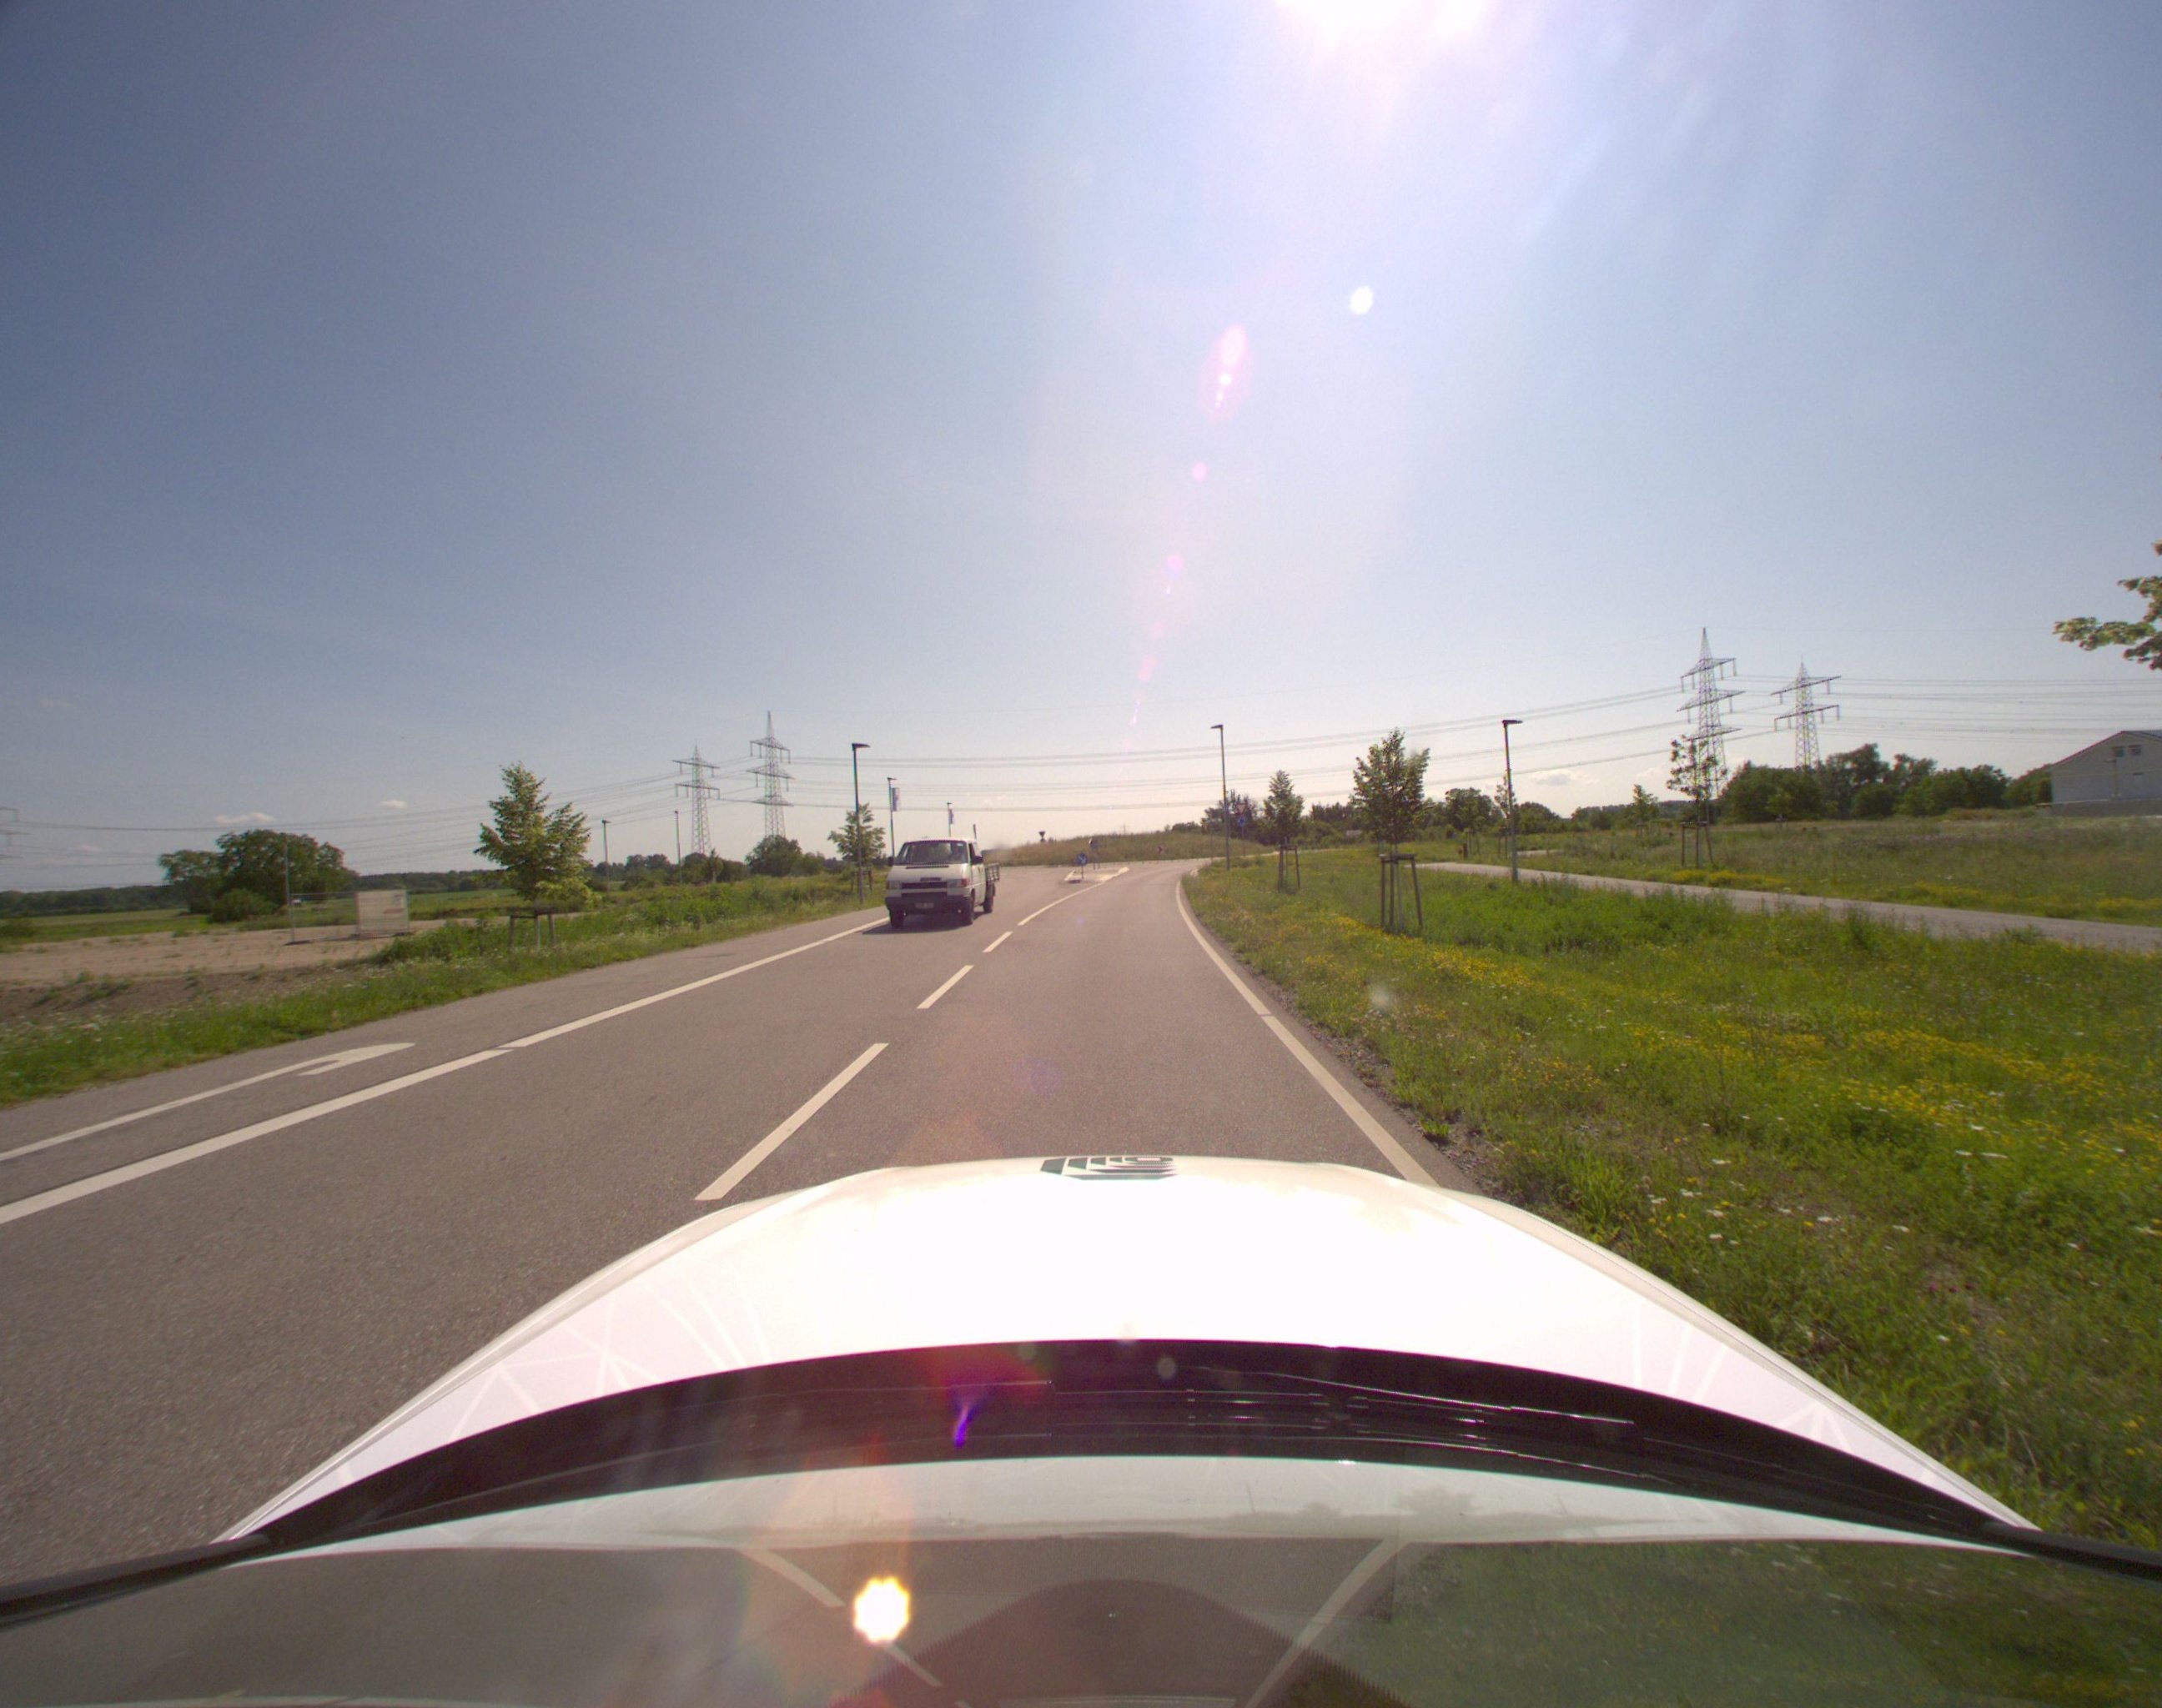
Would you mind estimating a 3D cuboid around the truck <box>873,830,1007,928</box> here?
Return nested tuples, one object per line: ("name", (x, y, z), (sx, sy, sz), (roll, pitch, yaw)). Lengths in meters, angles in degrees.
("truck", (-3.174, 0.483, 19.672), (1.943, 1.984, 5.649), (-2, 1, 3))
